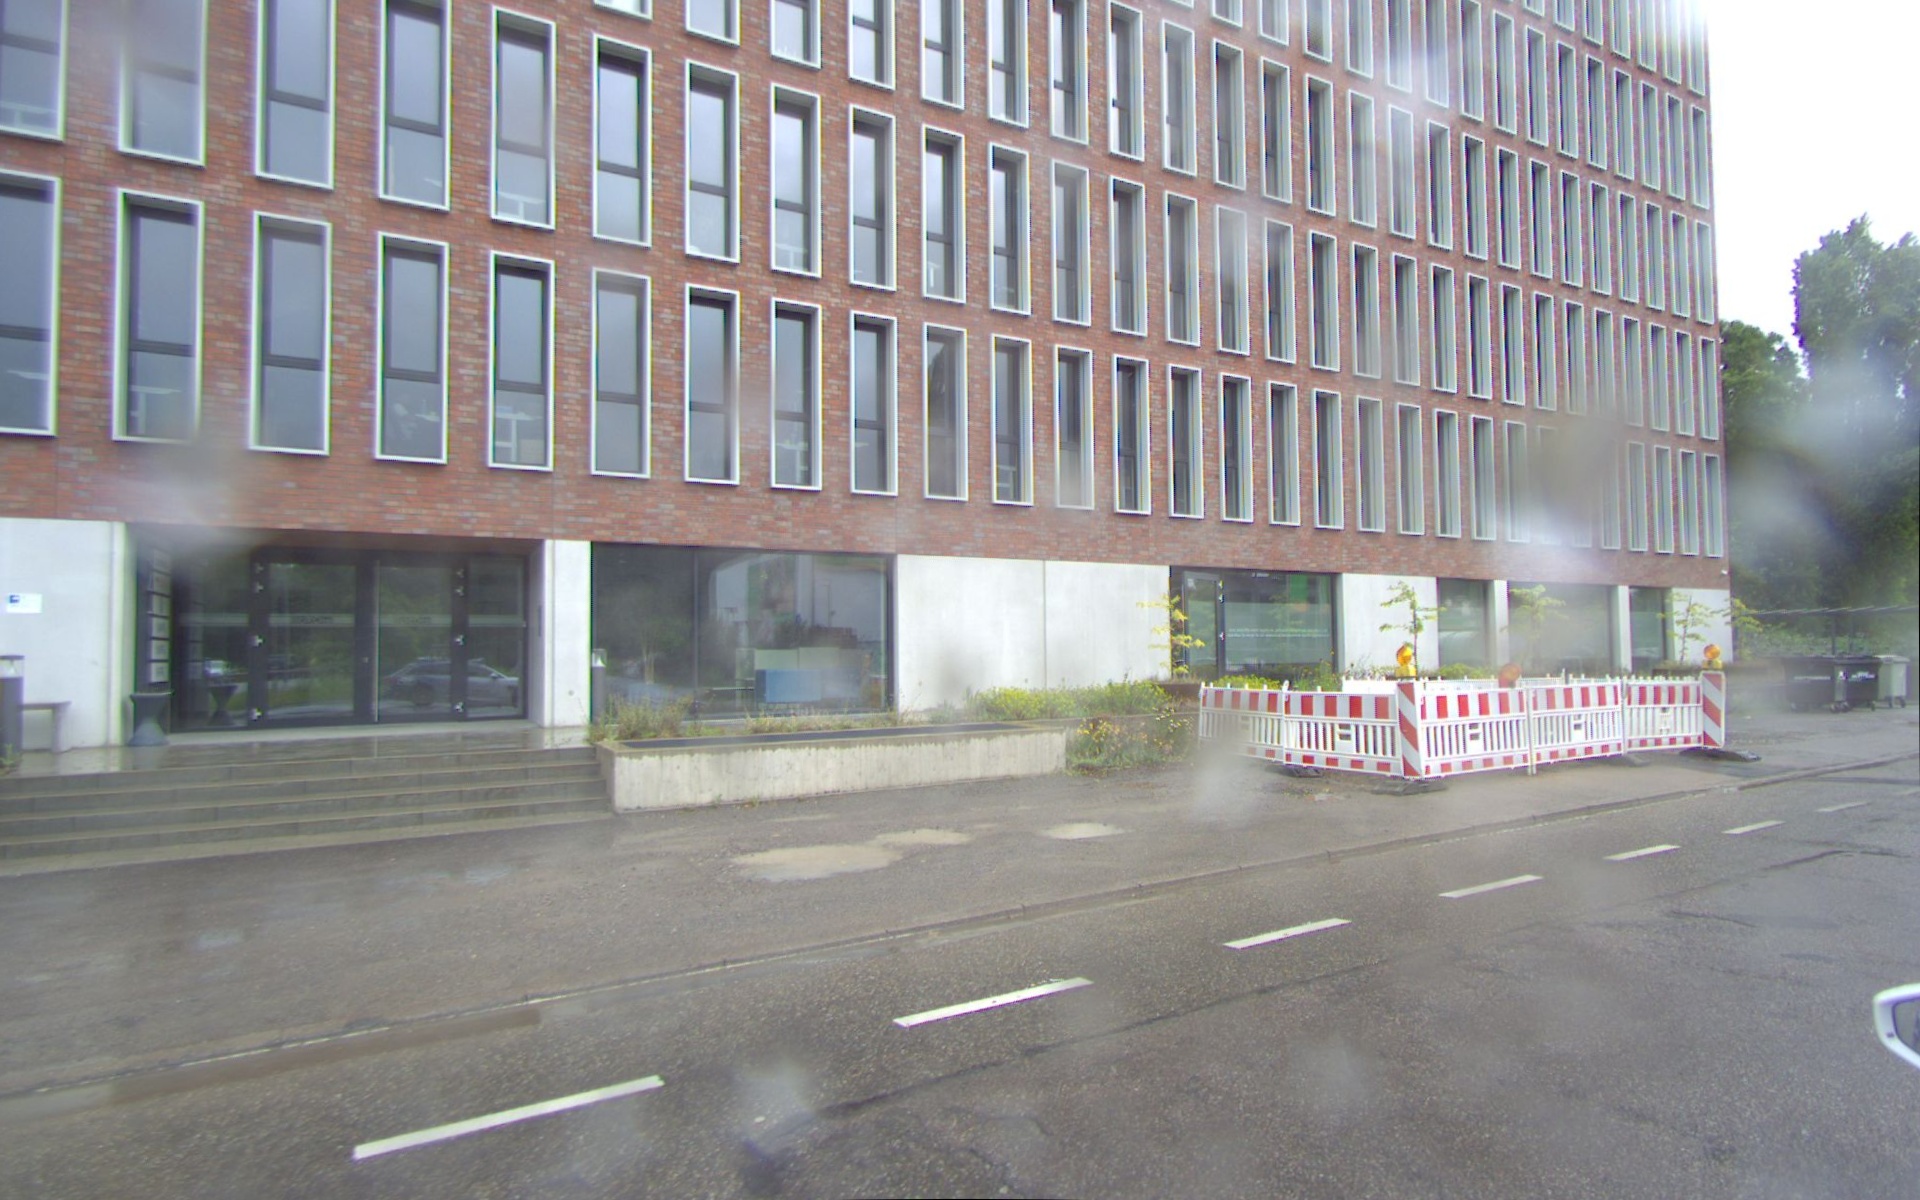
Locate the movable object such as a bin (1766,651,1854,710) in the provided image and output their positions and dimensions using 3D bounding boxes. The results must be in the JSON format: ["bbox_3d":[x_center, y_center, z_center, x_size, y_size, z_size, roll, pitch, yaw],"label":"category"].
[{"bbox_3d":[20.157,1.884,23.818,1.435,1.325,1.286,2,-3,-37],"label":"movable object such as a bin"}]

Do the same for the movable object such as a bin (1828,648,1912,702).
[{"bbox_3d":[23.735,1.939,26.216,1.343,1.349,1.289,2,-3,-32],"label":"movable object such as a bin"}]

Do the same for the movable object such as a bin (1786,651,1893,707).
[{"bbox_3d":[21.688,1.931,24.805,1.422,1.325,1.377,0,-3,-9],"label":"movable object such as a bin"}]
